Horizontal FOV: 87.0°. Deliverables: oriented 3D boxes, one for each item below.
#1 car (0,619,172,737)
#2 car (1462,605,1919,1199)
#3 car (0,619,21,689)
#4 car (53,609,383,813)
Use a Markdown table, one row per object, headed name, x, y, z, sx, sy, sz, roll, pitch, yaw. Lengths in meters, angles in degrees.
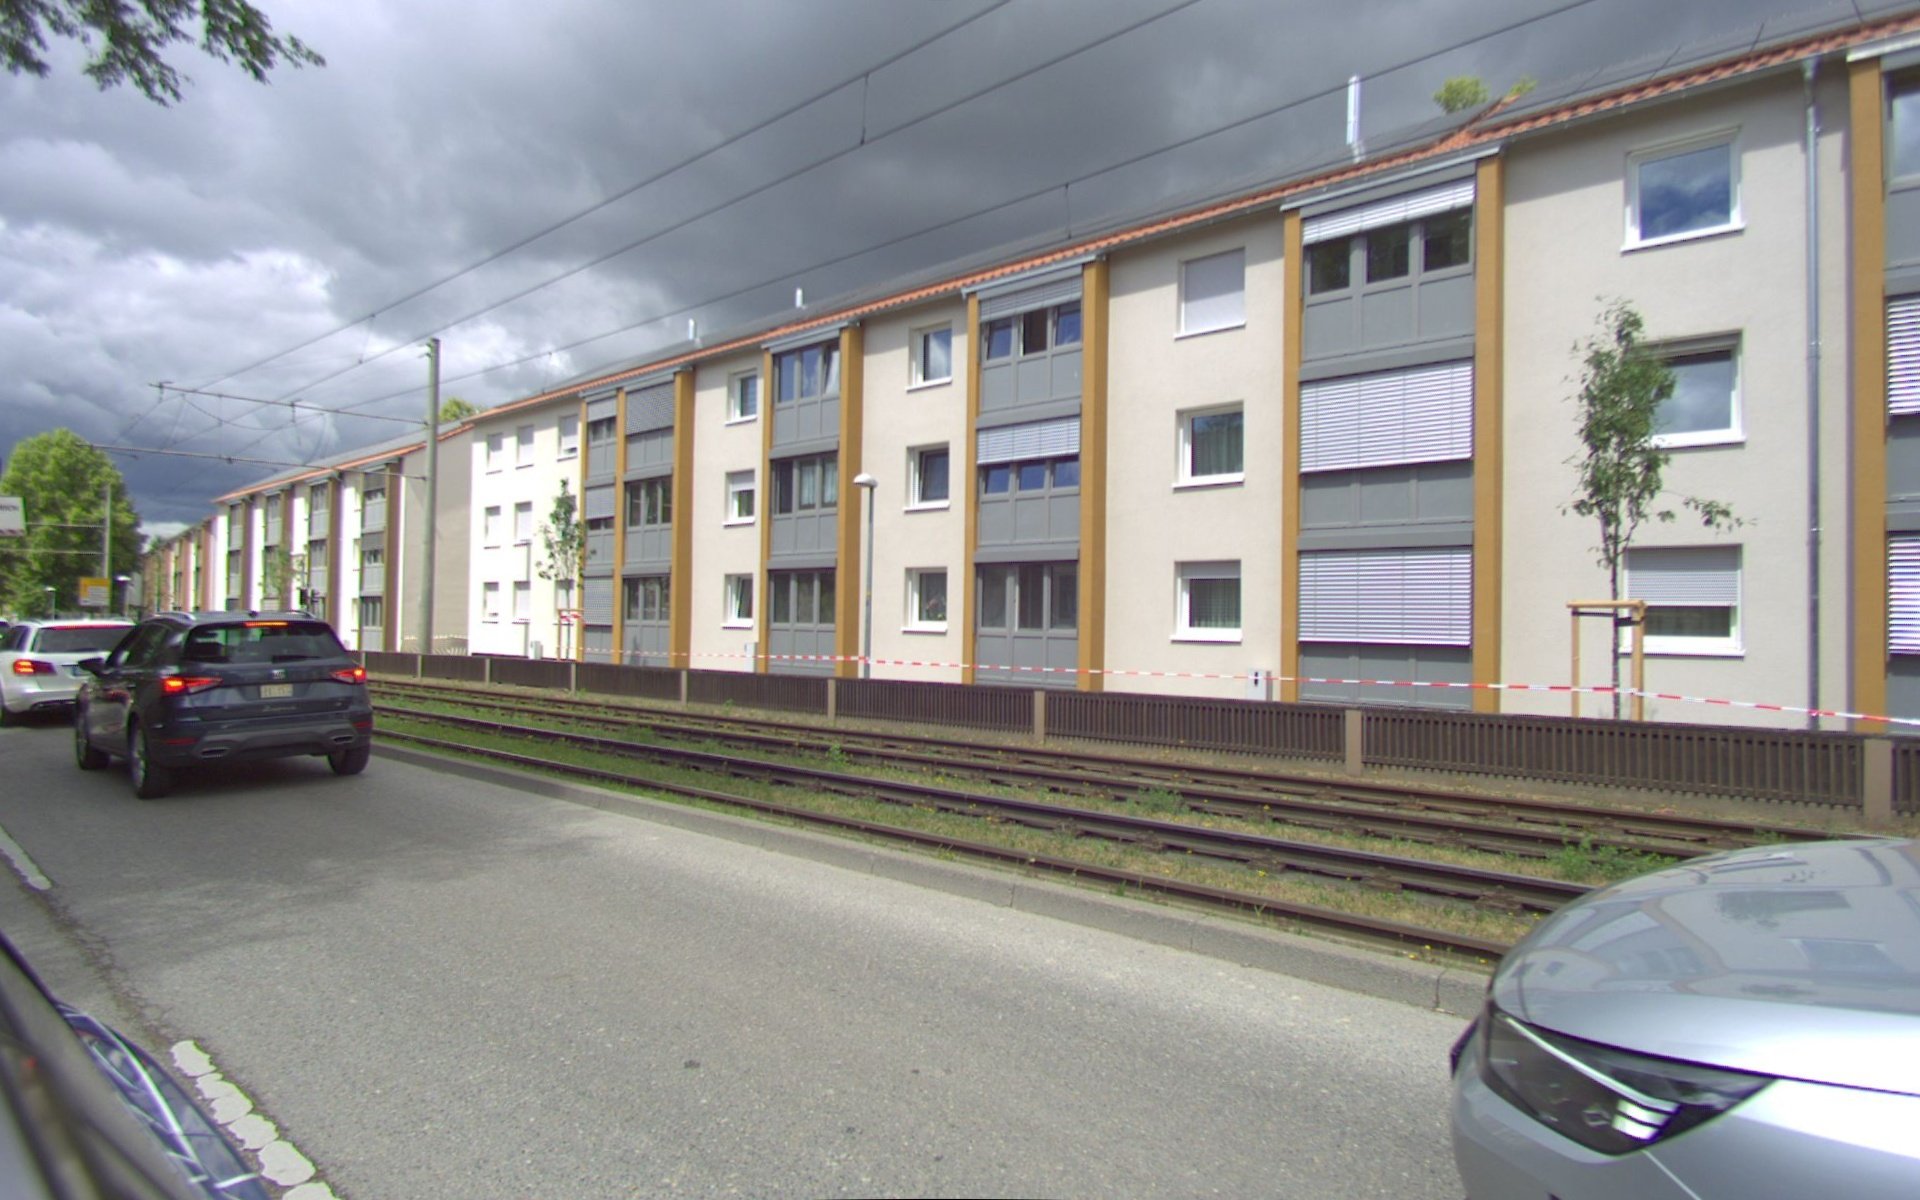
| name | x | y | z | sx | sy | sz | roll | pitch | yaw |
| --- | --- | --- | --- | --- | --- | --- | --- | --- | --- |
| car | -13.616 | 1.064 | 15.258 | 4.525 | 1.492 | 1.860 | -1 | -1 | 40 |
| car | 2.827 | 0.696 | 0.875 | 3.982 | 1.428 | 1.712 | -1 | -1 | 41 |
| car | -23.314 | 1.240 | 23.534 | 3.914 | 1.564 | 1.700 | -1 | -1 | 40 |
| car | -7.093 | 0.882 | 9.539 | 3.862 | 1.532 | 1.634 | -1 | -1 | 40 |
